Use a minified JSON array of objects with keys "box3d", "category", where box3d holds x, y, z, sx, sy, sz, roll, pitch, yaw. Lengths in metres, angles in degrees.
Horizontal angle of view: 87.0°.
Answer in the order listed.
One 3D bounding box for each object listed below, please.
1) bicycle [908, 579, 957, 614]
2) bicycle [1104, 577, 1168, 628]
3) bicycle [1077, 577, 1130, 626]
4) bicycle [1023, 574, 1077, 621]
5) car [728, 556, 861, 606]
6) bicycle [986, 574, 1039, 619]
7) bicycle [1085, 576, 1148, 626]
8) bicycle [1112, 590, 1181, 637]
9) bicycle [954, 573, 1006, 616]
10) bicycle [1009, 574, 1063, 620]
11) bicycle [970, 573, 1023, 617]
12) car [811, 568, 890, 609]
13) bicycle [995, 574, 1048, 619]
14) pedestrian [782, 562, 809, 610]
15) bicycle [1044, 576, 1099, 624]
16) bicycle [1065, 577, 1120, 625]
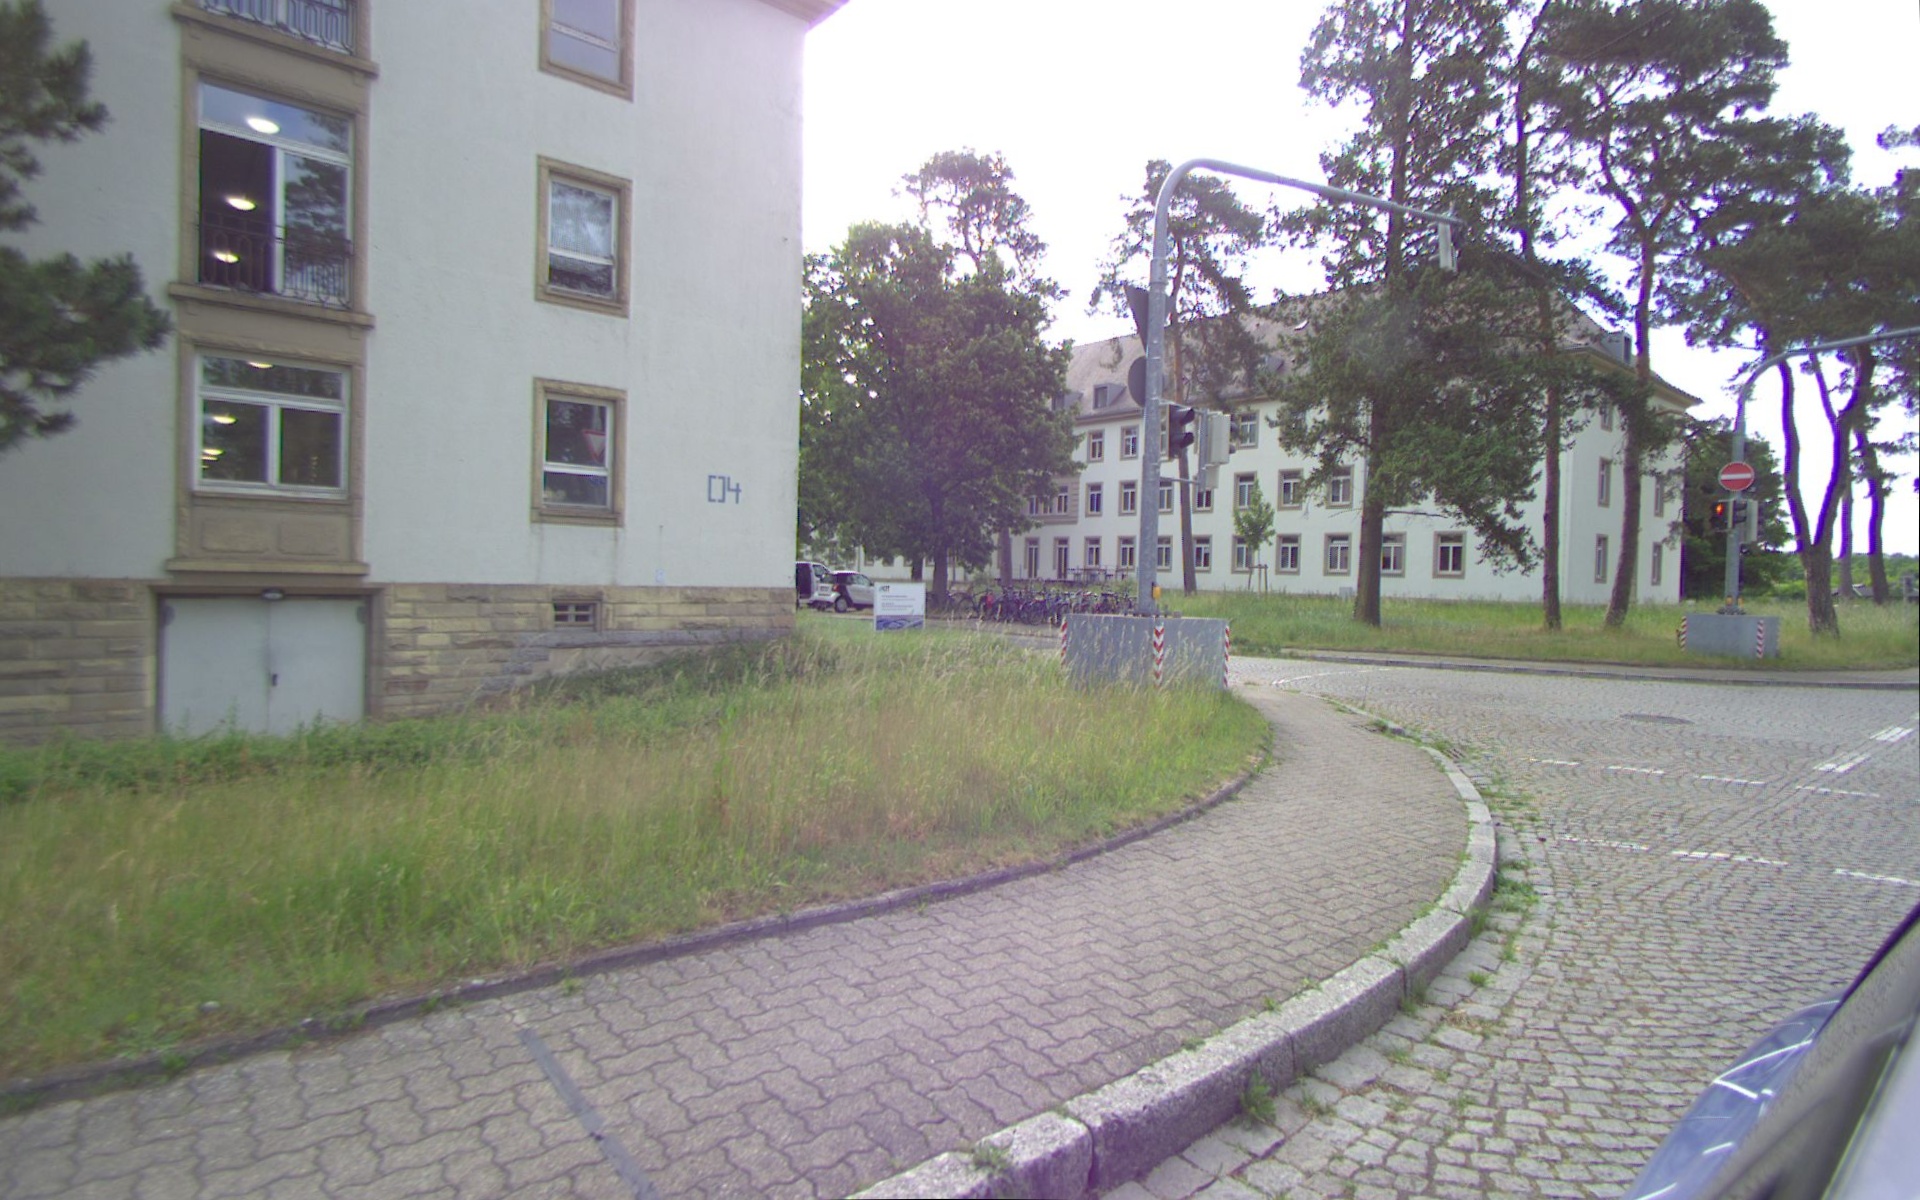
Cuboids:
[{"box3d":[-0.945,-0.131,35.517,0.571,1.201,1.809,2,1,43],"category":"bicycle"},{"box3d":[4.878,0.070,27.985,1.802,1.348,0.573,1,1,-33],"category":"bicycle"},{"box3d":[4.087,0.028,28.786,0.481,1.348,1.808,2,1,45],"category":"bicycle"},{"box3d":[2.705,-0.083,30.300,0.571,1.348,1.808,2,1,45],"category":"bicycle"},{"box3d":[-6.661,-0.765,41.152,5.027,1.908,1.998,0,2,-40],"category":"car"},{"box3d":[1.667,-0.108,31.908,0.571,1.348,1.808,2,1,45],"category":"bicycle"},{"box3d":[4.394,0.034,28.394,1.802,1.348,0.573,1,1,-33],"category":"bicycle"},{"box3d":[4.707,0.320,25.610,0.562,1.098,1.838,-1,3,-36],"category":"bicycle"},{"box3d":[0.674,-0.178,32.775,0.571,1.348,1.808,2,1,45],"category":"bicycle"},{"box3d":[2.325,-0.090,30.719,0.571,1.348,1.808,2,1,45],"category":"bicycle"},{"box3d":[1.178,-0.160,32.272,0.571,1.348,1.808,2,1,45],"category":"bicycle"},{"box3d":[-4.242,-0.439,39.264,2.645,1.527,1.475,0,2,-40],"category":"car"},{"box3d":[1.904,-0.100,31.309,0.571,1.348,1.808,2,1,45],"category":"bicycle"},{"box3d":[-6.144,-0.542,37.853,0.867,1.759,0.822,2,1,0],"category":"pedestrian"},{"box3d":[3.287,-0.007,29.677,0.571,1.348,1.808,2,1,45],"category":"bicycle"},{"box3d":[3.820,0.022,29.127,0.571,1.348,1.808,2,1,45],"category":"bicycle"}]
